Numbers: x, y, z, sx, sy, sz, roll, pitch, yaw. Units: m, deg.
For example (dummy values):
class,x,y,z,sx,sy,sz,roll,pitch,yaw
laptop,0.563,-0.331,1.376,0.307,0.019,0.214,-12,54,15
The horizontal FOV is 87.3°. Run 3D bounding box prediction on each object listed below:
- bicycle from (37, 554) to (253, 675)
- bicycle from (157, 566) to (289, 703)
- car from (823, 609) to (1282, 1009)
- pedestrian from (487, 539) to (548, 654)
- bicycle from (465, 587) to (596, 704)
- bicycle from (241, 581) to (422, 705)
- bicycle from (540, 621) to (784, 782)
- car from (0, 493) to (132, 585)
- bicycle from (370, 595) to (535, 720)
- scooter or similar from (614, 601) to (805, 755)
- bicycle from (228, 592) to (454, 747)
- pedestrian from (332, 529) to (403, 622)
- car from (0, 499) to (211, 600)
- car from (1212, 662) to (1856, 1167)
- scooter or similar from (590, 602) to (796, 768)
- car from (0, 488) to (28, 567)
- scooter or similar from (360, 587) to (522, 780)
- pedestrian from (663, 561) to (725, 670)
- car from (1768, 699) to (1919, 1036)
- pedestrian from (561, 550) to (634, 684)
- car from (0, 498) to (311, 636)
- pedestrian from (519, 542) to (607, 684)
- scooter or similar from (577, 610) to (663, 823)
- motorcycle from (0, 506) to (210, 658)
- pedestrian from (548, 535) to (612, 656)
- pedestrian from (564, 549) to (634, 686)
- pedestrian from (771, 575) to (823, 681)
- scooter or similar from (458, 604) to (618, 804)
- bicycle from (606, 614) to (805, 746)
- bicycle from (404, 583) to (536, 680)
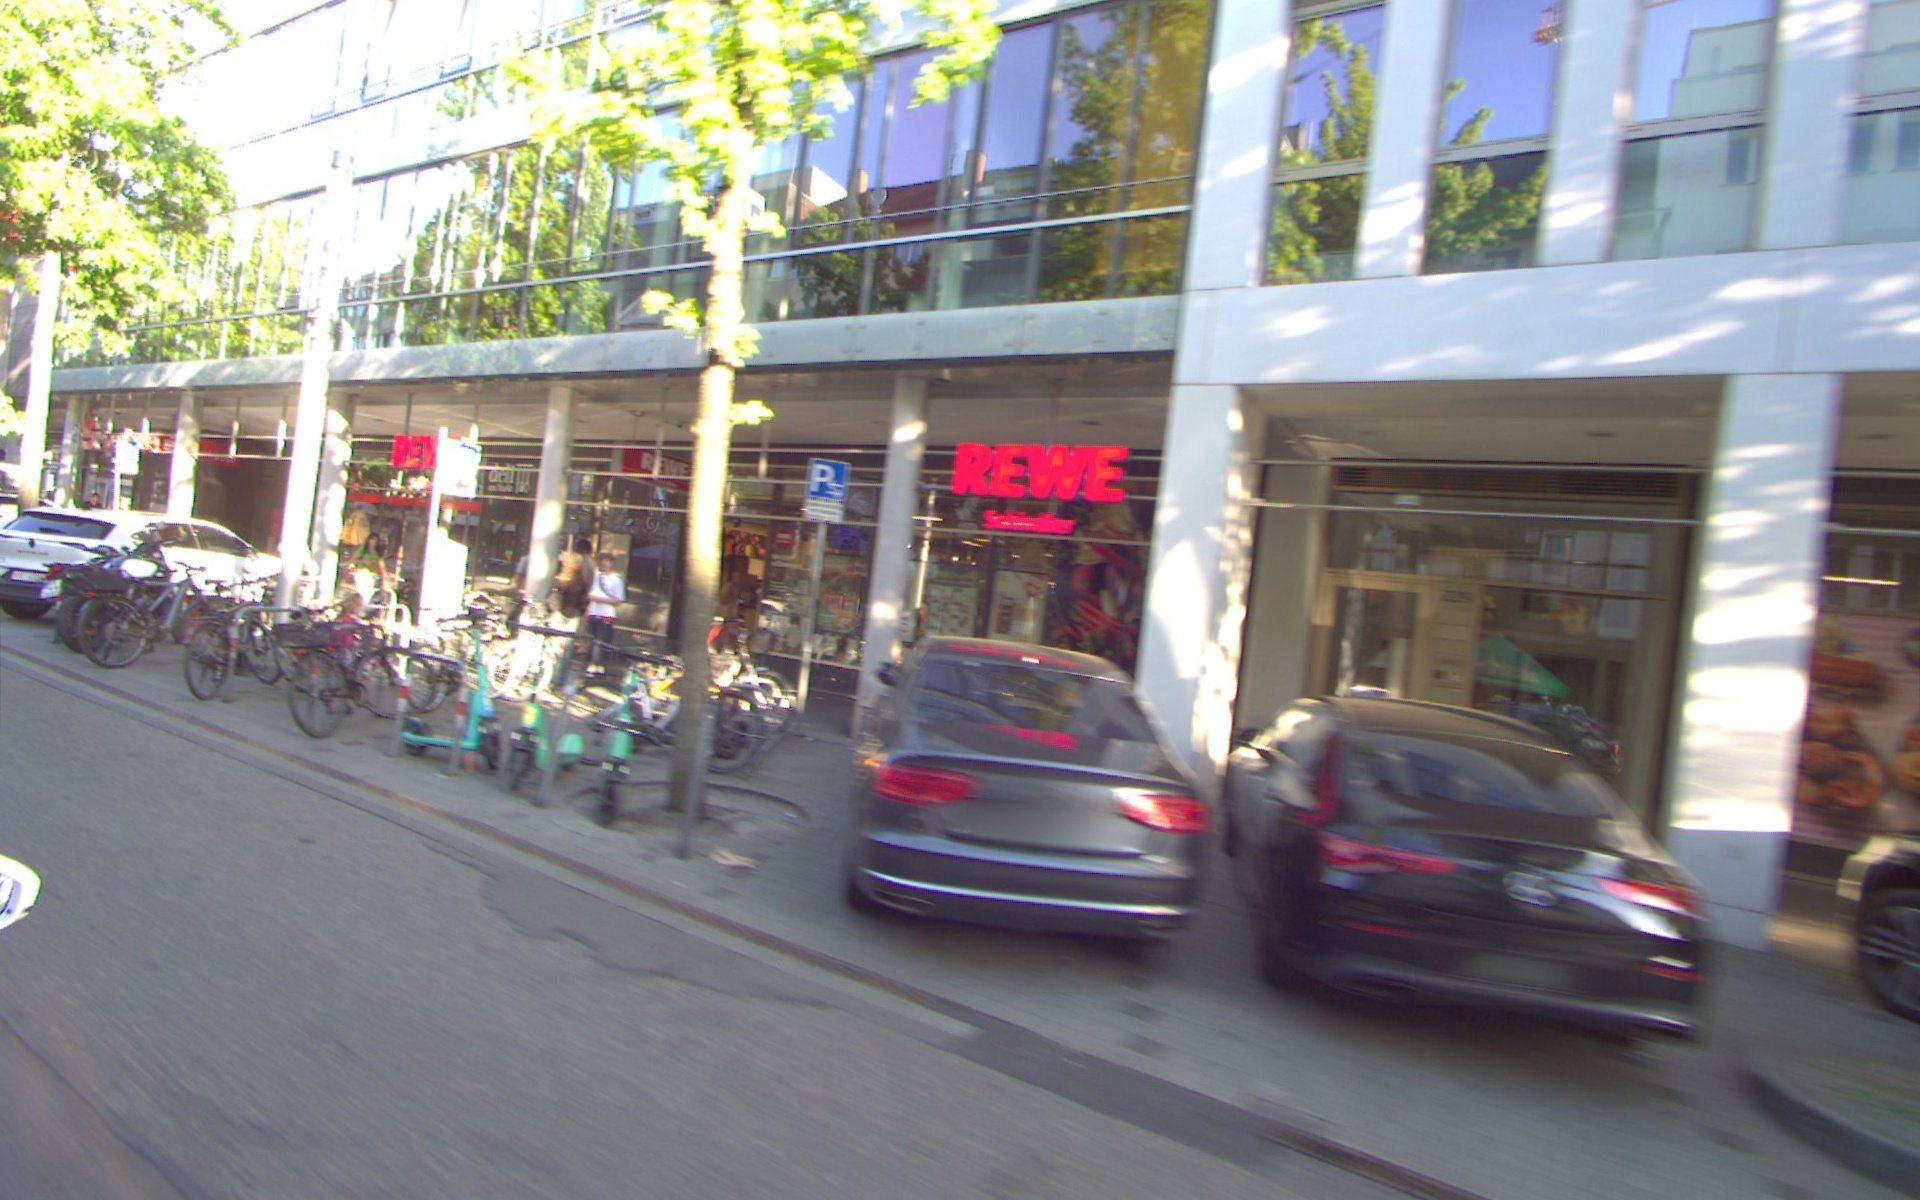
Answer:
class,x,y,z,sx,sy,sz,roll,pitch,yaw
bicycle,-8.747,0.142,10.920,0.655,1.134,1.896,5,1,3
bicycle,-7.159,0.290,9.853,0.474,1.179,1.687,5,2,-18
car,0.278,0.983,7.050,1.941,1.488,5.055,6,1,-3
pedestrian,-7.045,-0.050,16.026,0.516,1.773,0.557,7,2,32
bicycle,-4.990,0.496,11.779,0.852,1.188,1.269,7,2,1
bicycle,-6.464,0.404,10.461,0.620,1.120,1.694,6,1,6
bicycle,-2.497,0.847,8.561,1.816,1.122,0.551,6,2,-4
car,-18.068,-1.197,18.593,1.849,1.608,4.247,6,1,1
bicycle,-5.209,0.547,10.454,0.719,1.089,1.673,7,2,2
scooter or similar,-2.443,0.756,9.948,1.650,1.310,0.562,6,2,-5
bicycle,-5.280,0.544,8.715,0.853,1.103,1.562,7,2,2
pedestrian,-11.170,-0.458,18.981,0.868,1.644,0.714,7,1,33
car,-15.526,-0.870,17.327,1.656,1.518,4.160,6,1,8
car,2.713,1.311,6.158,1.897,1.444,4.668,6,0,11
scooter or similar,-2.440,0.770,9.325,1.650,1.310,0.631,6,2,-5
car,-21.532,-1.654,20.079,1.663,1.673,4.354,6,1,1
scooter or similar,-4.039,0.608,7.808,1.285,1.293,0.451,7,3,31
pedestrian,-4.521,0.274,17.117,0.616,1.765,0.598,7,1,31
car,5.941,1.561,4.019,1.970,1.676,4.667,7,1,8
pedestrian,-4.878,0.231,13.555,0.542,1.716,0.517,7,-1,36
car,-11.813,-0.463,14.755,1.820,1.591,4.157,7,1,-1
pedestrian,-5.048,0.181,12.826,0.540,1.716,0.681,7,-1,19
scooter or similar,-2.440,0.777,7.166,0.452,1.293,1.300,4,3,-21
motorcycle,-9.965,-0.213,11.824,0.845,1.529,2.313,5,1,-11
pedestrian,-6.391,-0.069,16.929,0.653,1.944,0.583,7,2,34
pedestrian,-4.870,0.236,13.573,0.550,1.773,0.523,7,2,34
pedestrian,-2.854,0.487,17.595,0.591,1.765,0.623,6,1,-21
scooter or similar,-3.112,0.716,7.541,0.554,1.293,1.305,5,2,1
bicycle,-2.642,0.826,10.587,1.855,1.145,0.626,6,2,-5
bicycle,-6.359,0.380,13.163,0.620,1.120,1.778,6,1,7
